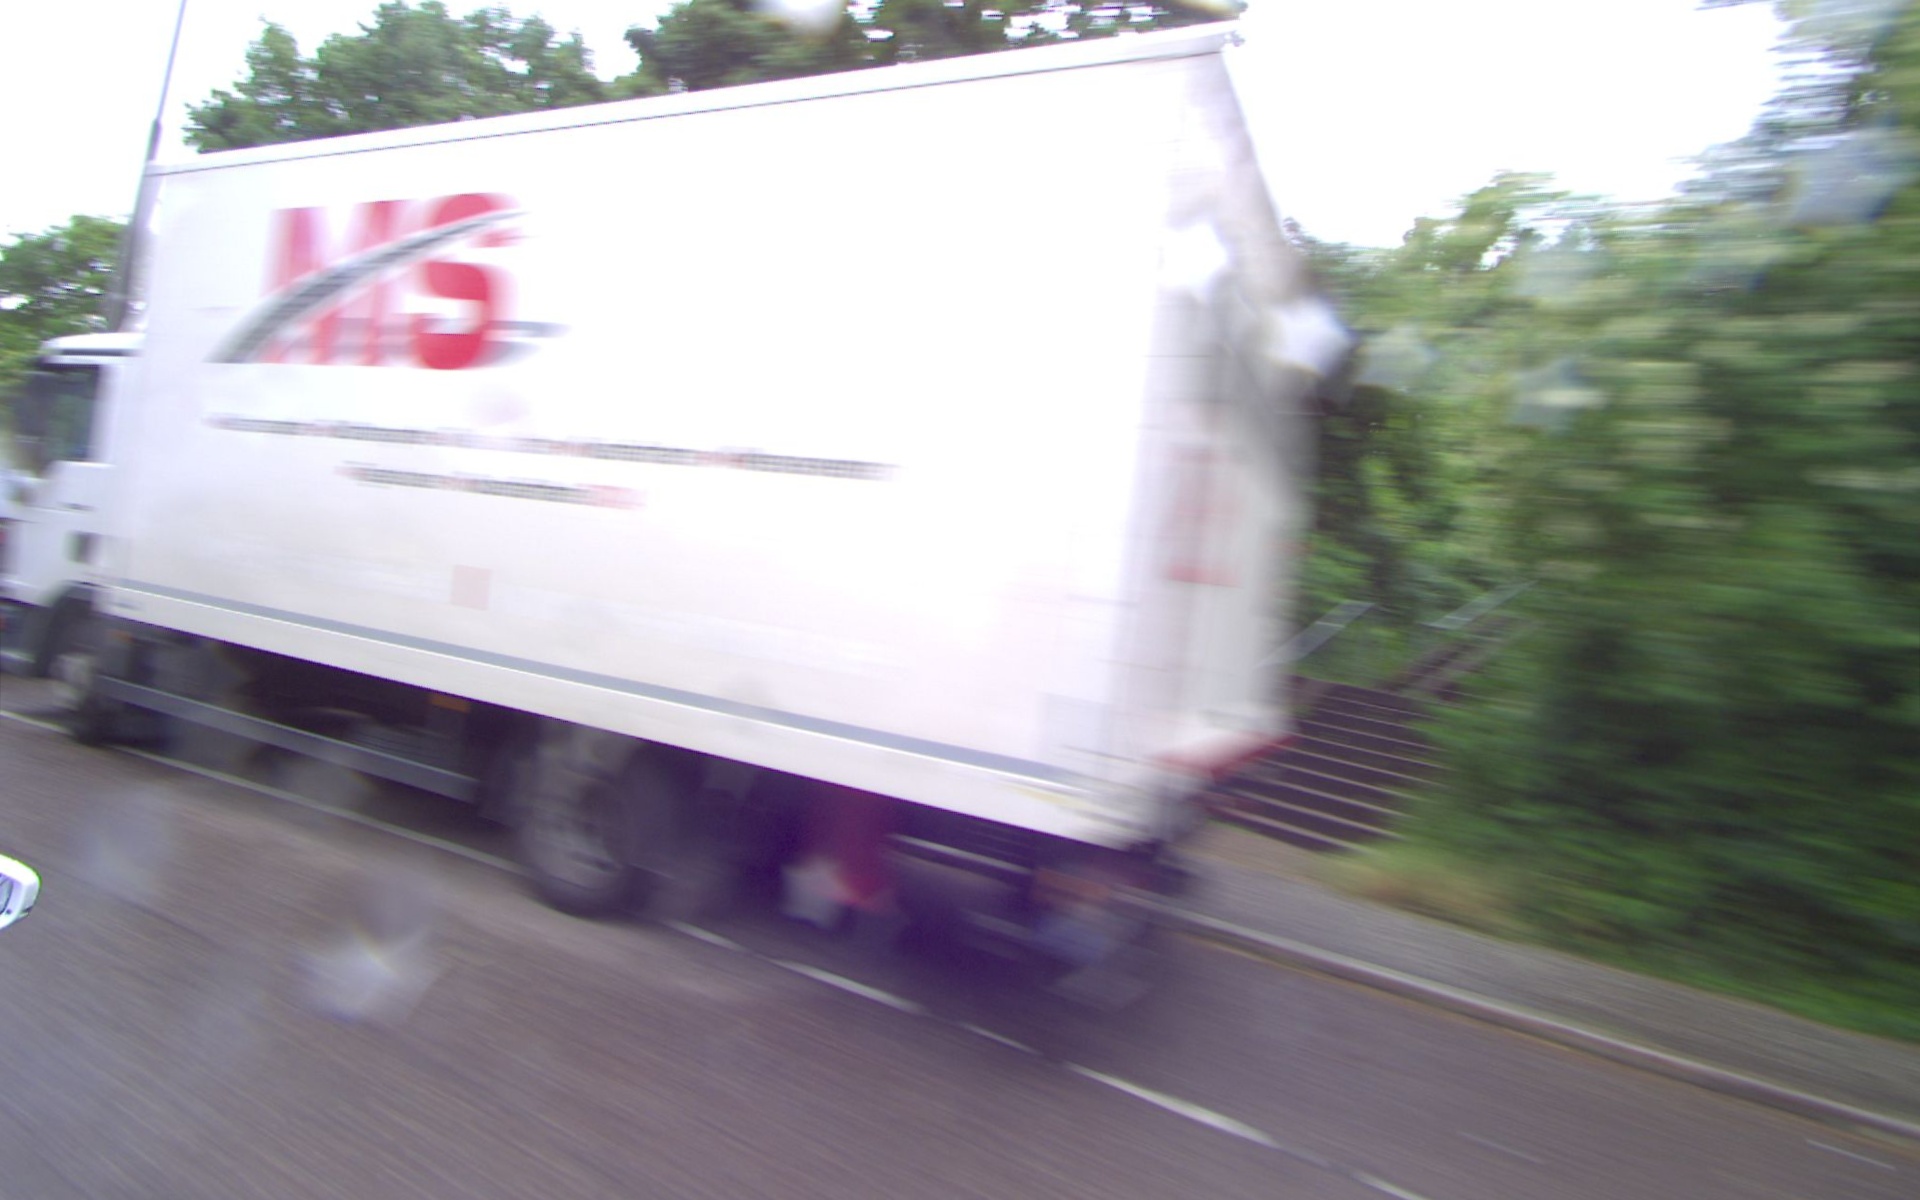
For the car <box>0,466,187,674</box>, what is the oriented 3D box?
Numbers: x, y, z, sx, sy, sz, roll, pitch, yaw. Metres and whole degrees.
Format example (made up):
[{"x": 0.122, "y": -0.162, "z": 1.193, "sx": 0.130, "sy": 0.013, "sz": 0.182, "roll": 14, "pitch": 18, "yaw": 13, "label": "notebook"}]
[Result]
[{"x": -9.162, "y": -0.477, "z": 8.584, "sx": 4.195, "sy": 1.575, "sz": 1.724, "roll": 8, "pitch": 0, "yaw": 14, "label": "car"}]

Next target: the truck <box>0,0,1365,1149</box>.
[{"x": -2.255, "y": -0.577, "z": 6.022, "sx": 8.187, "sy": 3.618, "sz": 3.014, "roll": 7, "pitch": 1, "yaw": 25, "label": "truck"}]
